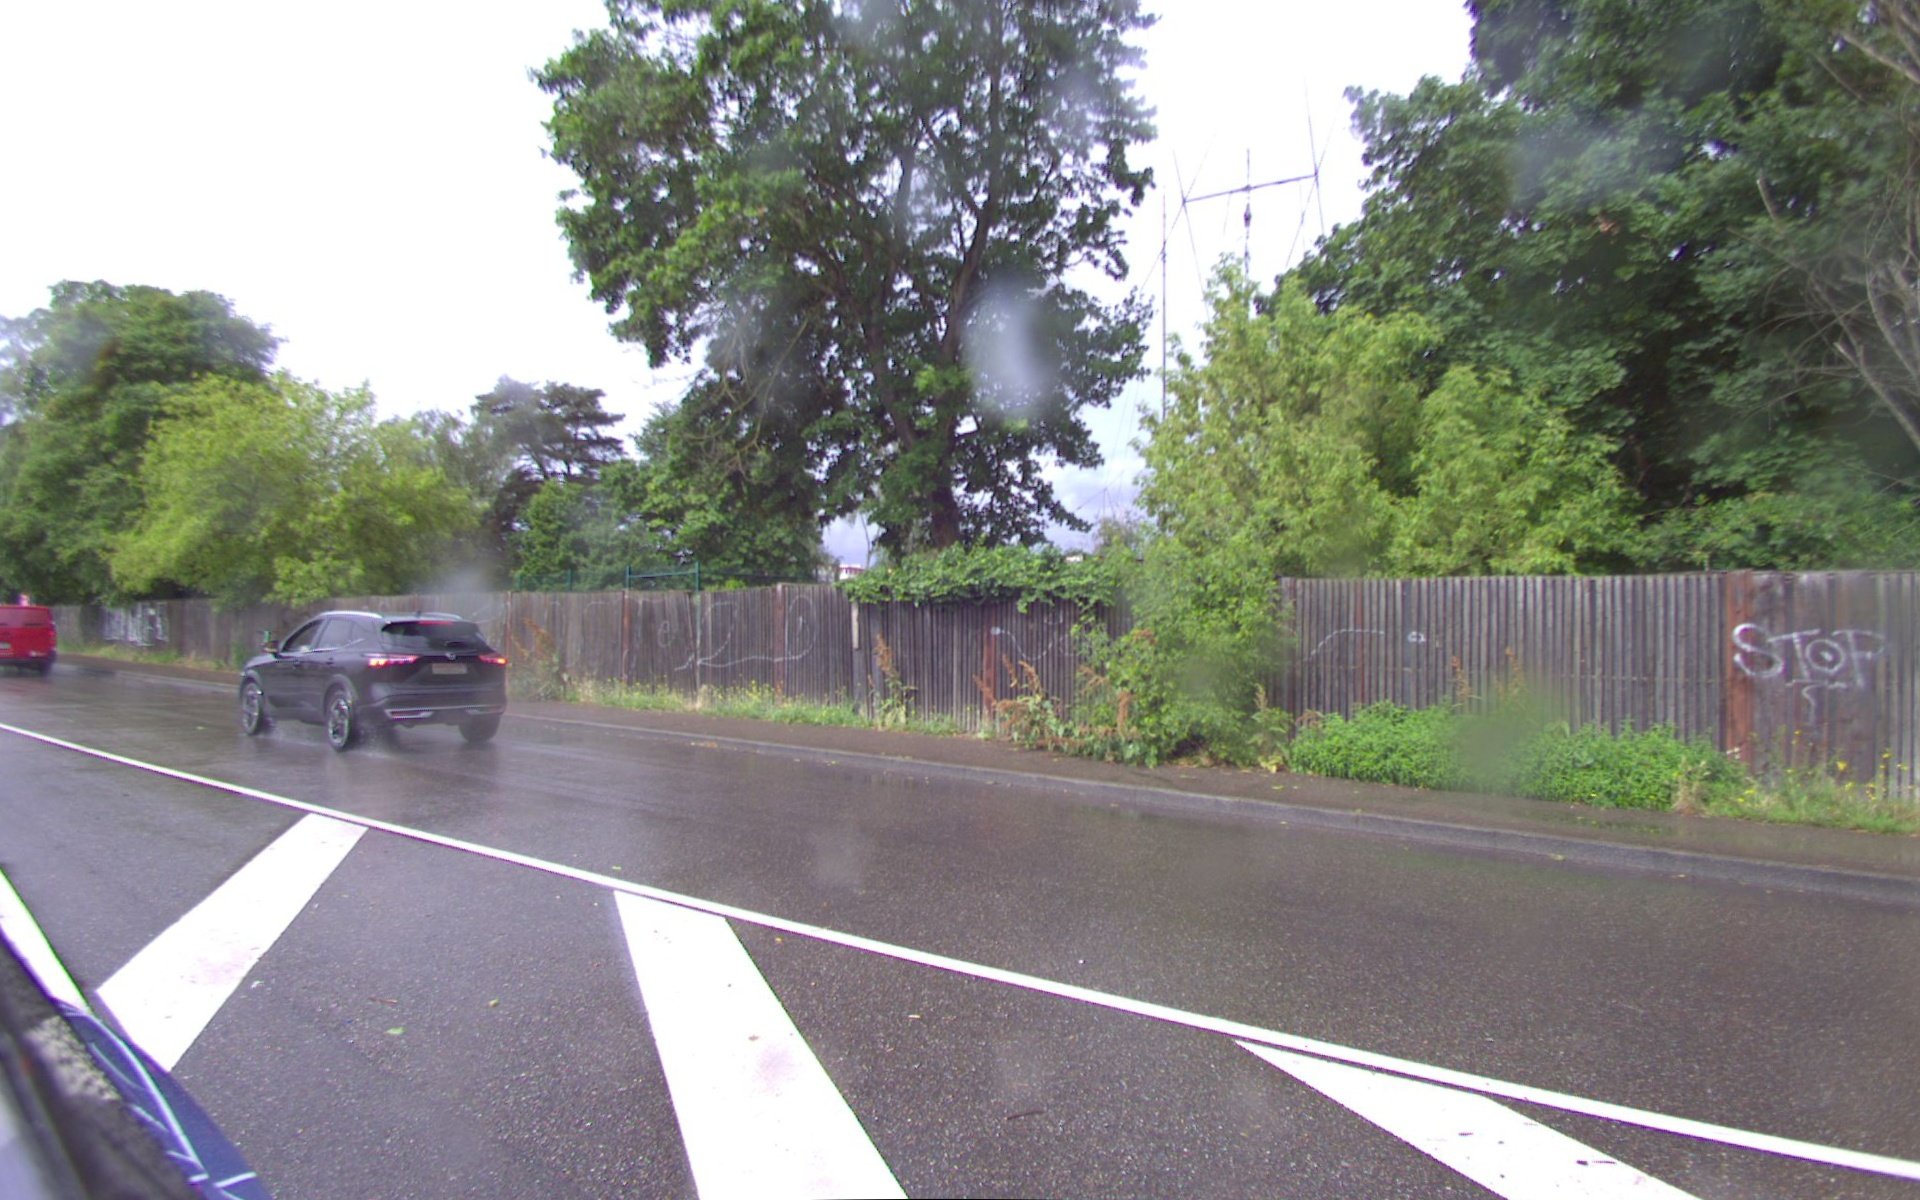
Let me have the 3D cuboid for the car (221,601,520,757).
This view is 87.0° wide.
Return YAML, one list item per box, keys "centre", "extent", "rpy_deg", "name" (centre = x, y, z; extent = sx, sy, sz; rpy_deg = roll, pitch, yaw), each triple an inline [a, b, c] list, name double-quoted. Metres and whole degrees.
- centre: [-7.522, 0.922, 12.790]
  extent: [4.101, 1.677, 1.718]
  rpy_deg: [-1, -4, 36]
  name: "car"

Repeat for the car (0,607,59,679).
- centre: [-26.965, 1.159, 28.119]
  extent: [5.123, 1.890, 1.871]
  rpy_deg: [-1, -3, 37]
  name: "car"

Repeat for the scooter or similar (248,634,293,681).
- centre: [-17.921, 1.486, 26.291]
  extent: [1.205, 1.171, 0.557]
  rpy_deg: [-1, -2, 35]
  name: "scooter or similar"
